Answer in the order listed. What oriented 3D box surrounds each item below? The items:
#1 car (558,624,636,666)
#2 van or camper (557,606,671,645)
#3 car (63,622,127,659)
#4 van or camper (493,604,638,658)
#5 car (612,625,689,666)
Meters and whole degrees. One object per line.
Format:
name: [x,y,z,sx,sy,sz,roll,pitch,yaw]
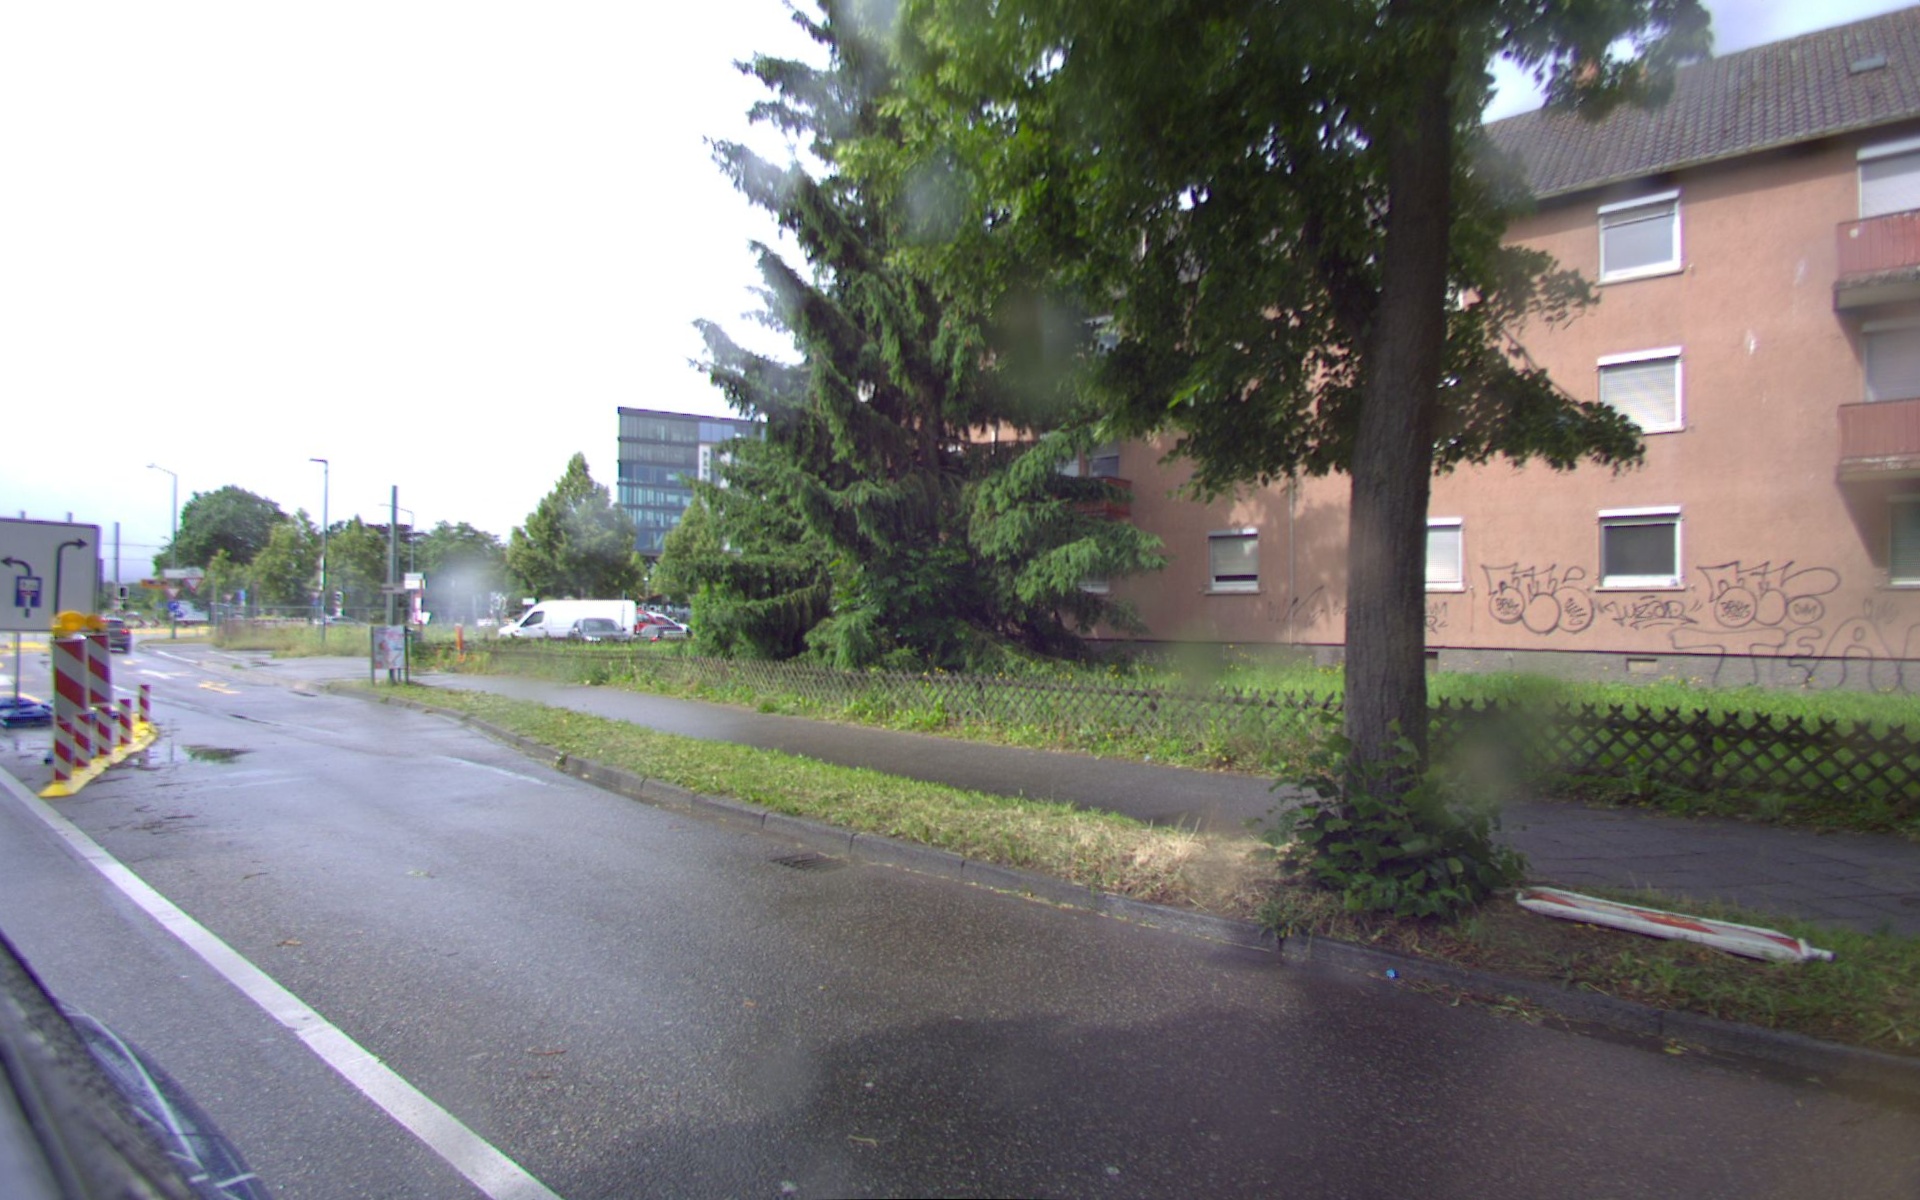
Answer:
car: [-14.947,1.799,41.523,1.731,1.630,4.336,1,-1,-38]
van or camper: [-20.455,1.516,60.037,6.289,2.205,2.448,0,-1,-18]
car: [-36.700,1.690,42.925,3.794,1.519,1.661,-1,-2,44]
van or camper: [-20.347,1.572,52.586,6.862,2.667,2.519,0,-1,-18]
car: [-13.295,1.886,43.301,1.731,1.630,4.267,1,-1,-38]
